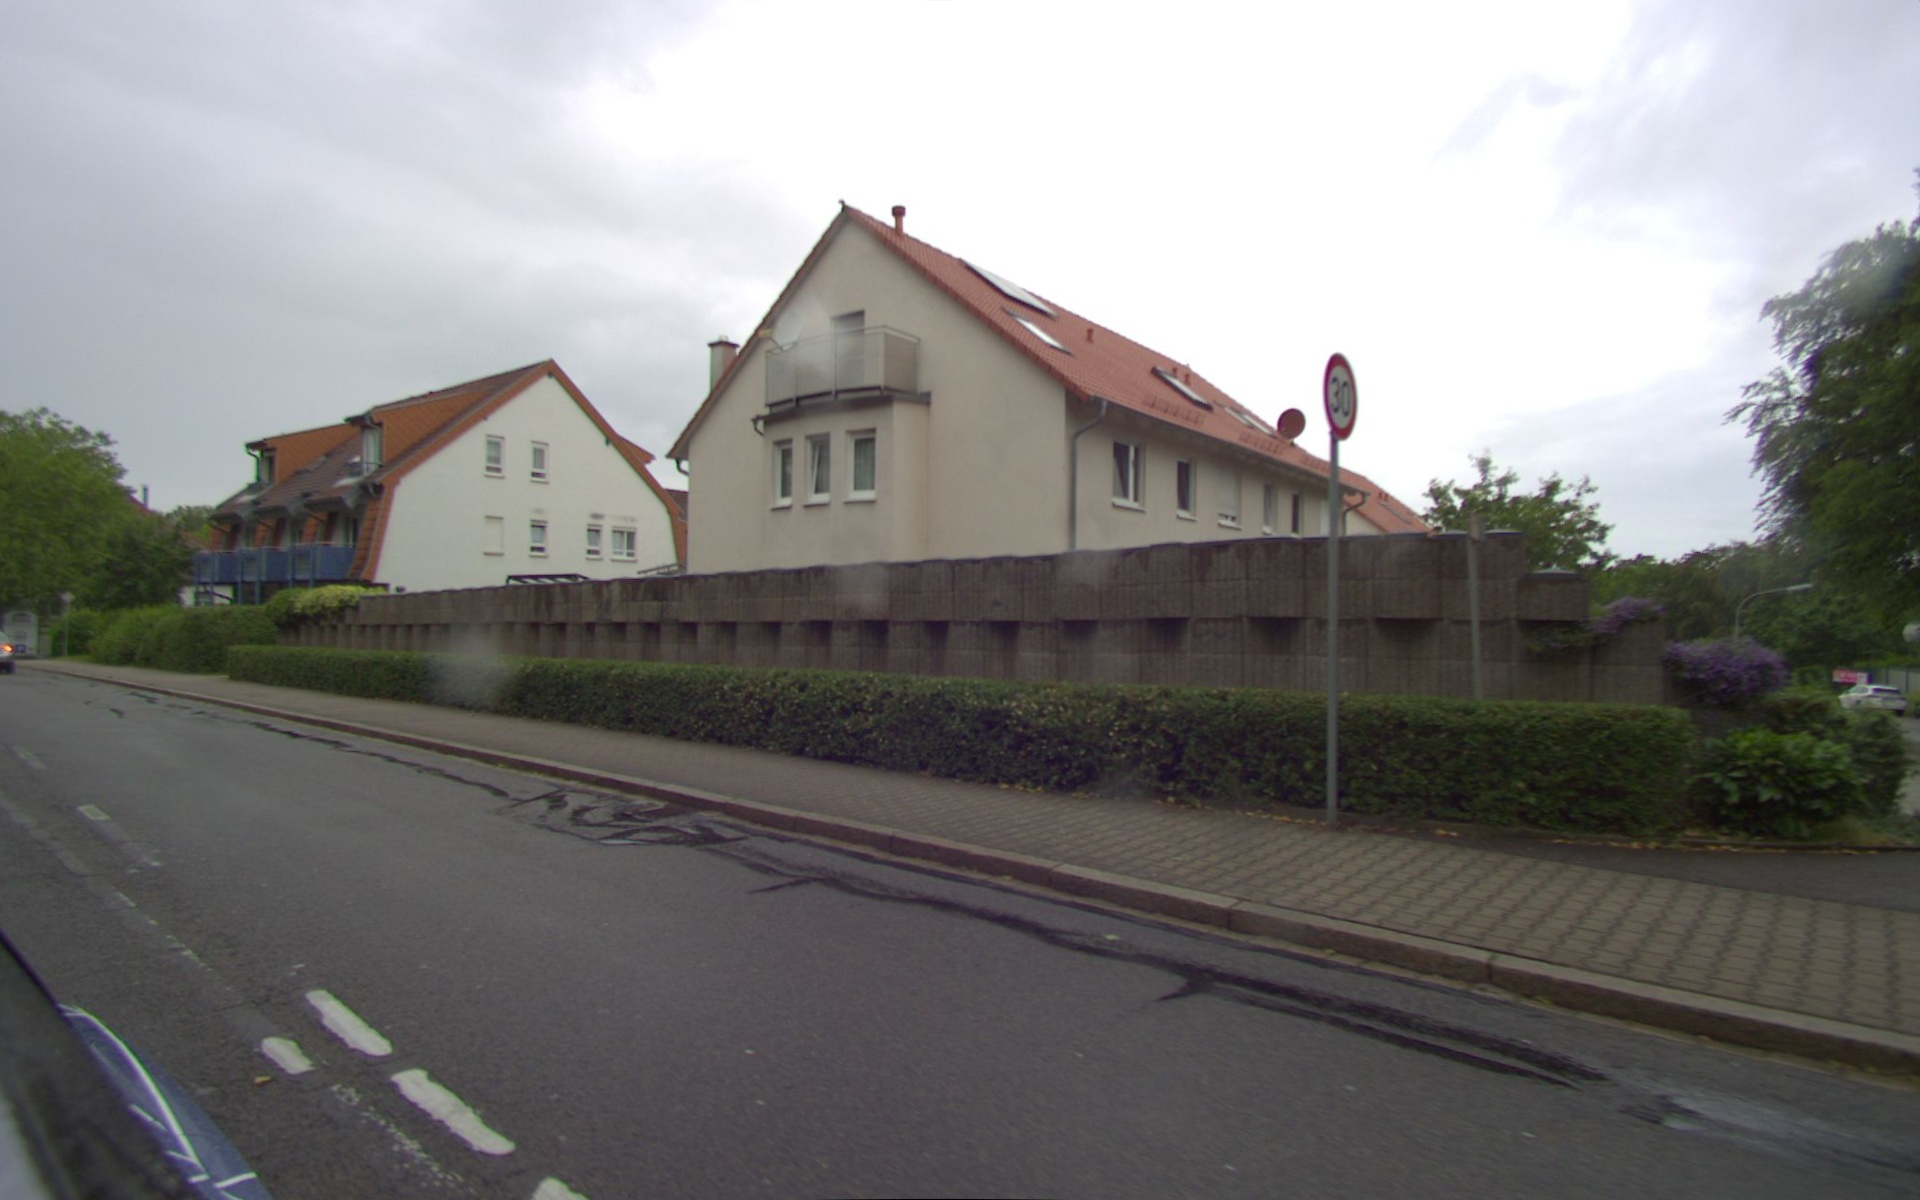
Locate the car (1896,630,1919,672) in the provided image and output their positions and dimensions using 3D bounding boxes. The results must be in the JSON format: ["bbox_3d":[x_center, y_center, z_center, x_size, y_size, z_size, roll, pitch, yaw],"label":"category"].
[{"bbox_3d":[47.278,2.515,49.066,1.871,2.003,3.960,-1,-3,29],"label":"car"}]

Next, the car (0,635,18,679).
[{"bbox_3d":[-33.271,1.872,33.914,4.483,1.431,1.973,-2,-4,41],"label":"car"}]
